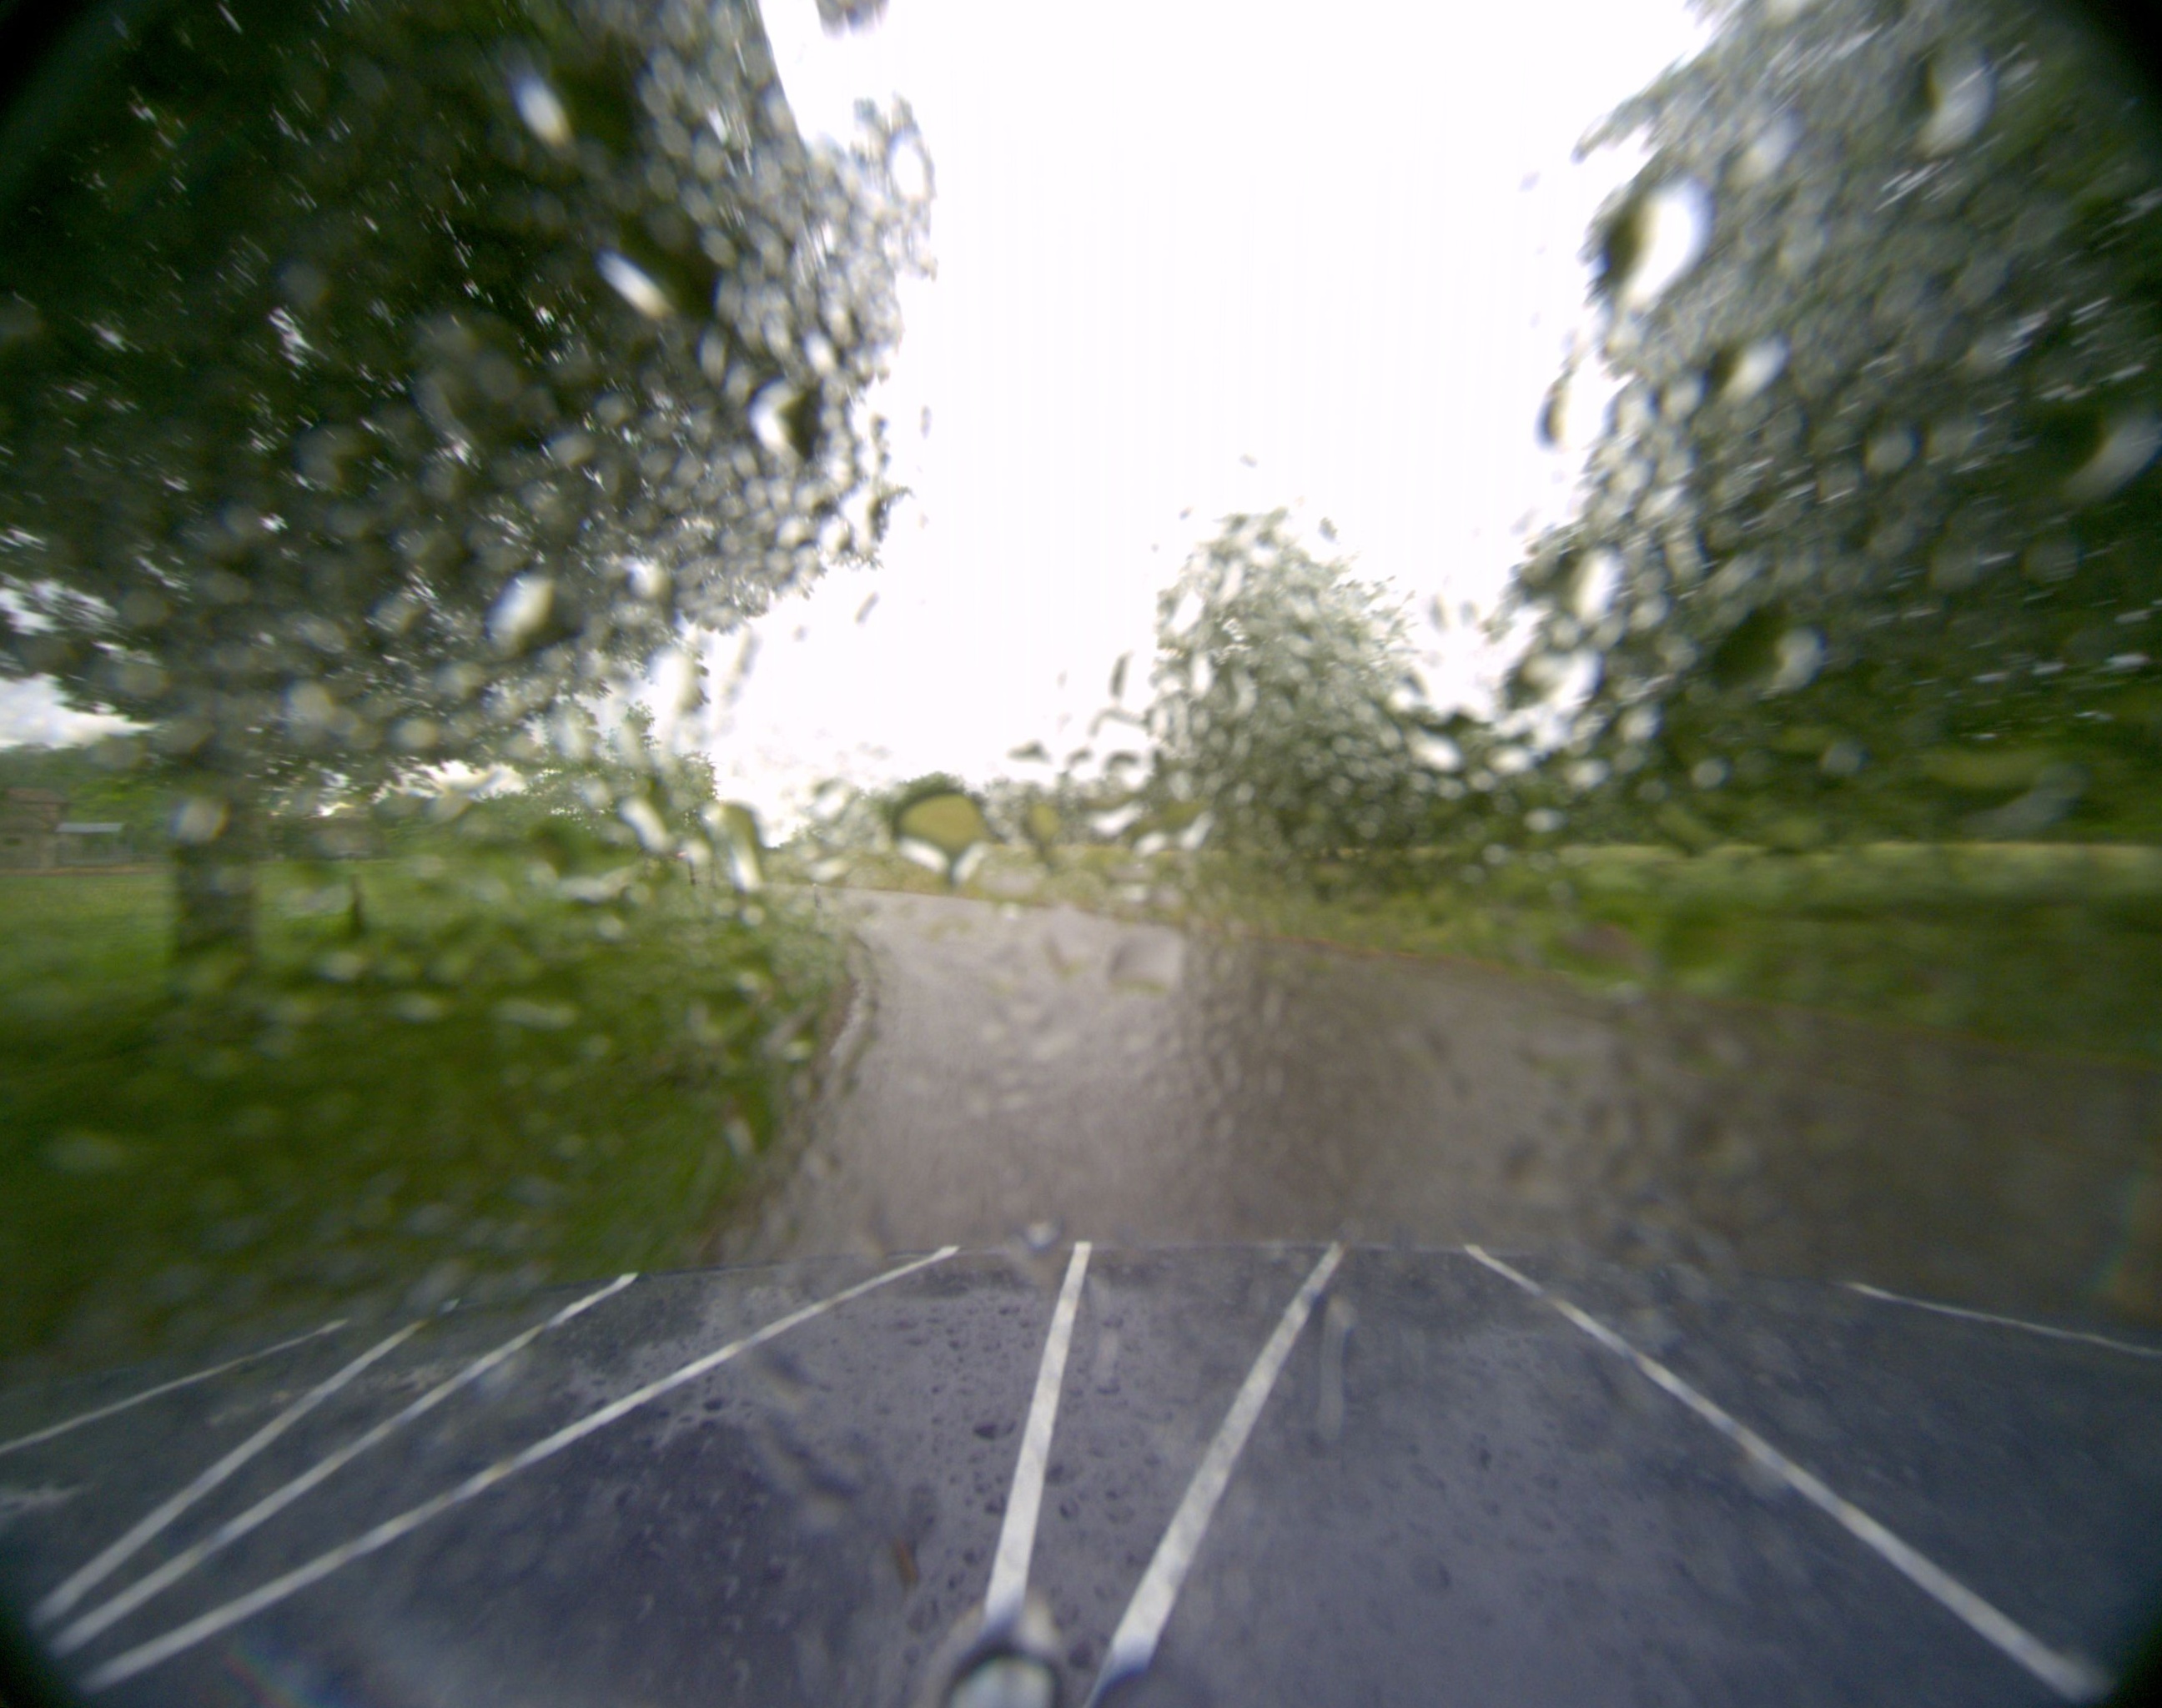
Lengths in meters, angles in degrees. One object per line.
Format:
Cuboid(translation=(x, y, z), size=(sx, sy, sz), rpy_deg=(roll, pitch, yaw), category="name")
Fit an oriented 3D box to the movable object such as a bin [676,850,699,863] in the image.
Cuboid(translation=(-48.150, 0.270, 93.003), size=(1.687, 1.562, 3.528), rpy_deg=(-1, 1, -42), category="movable object such as a bin")
